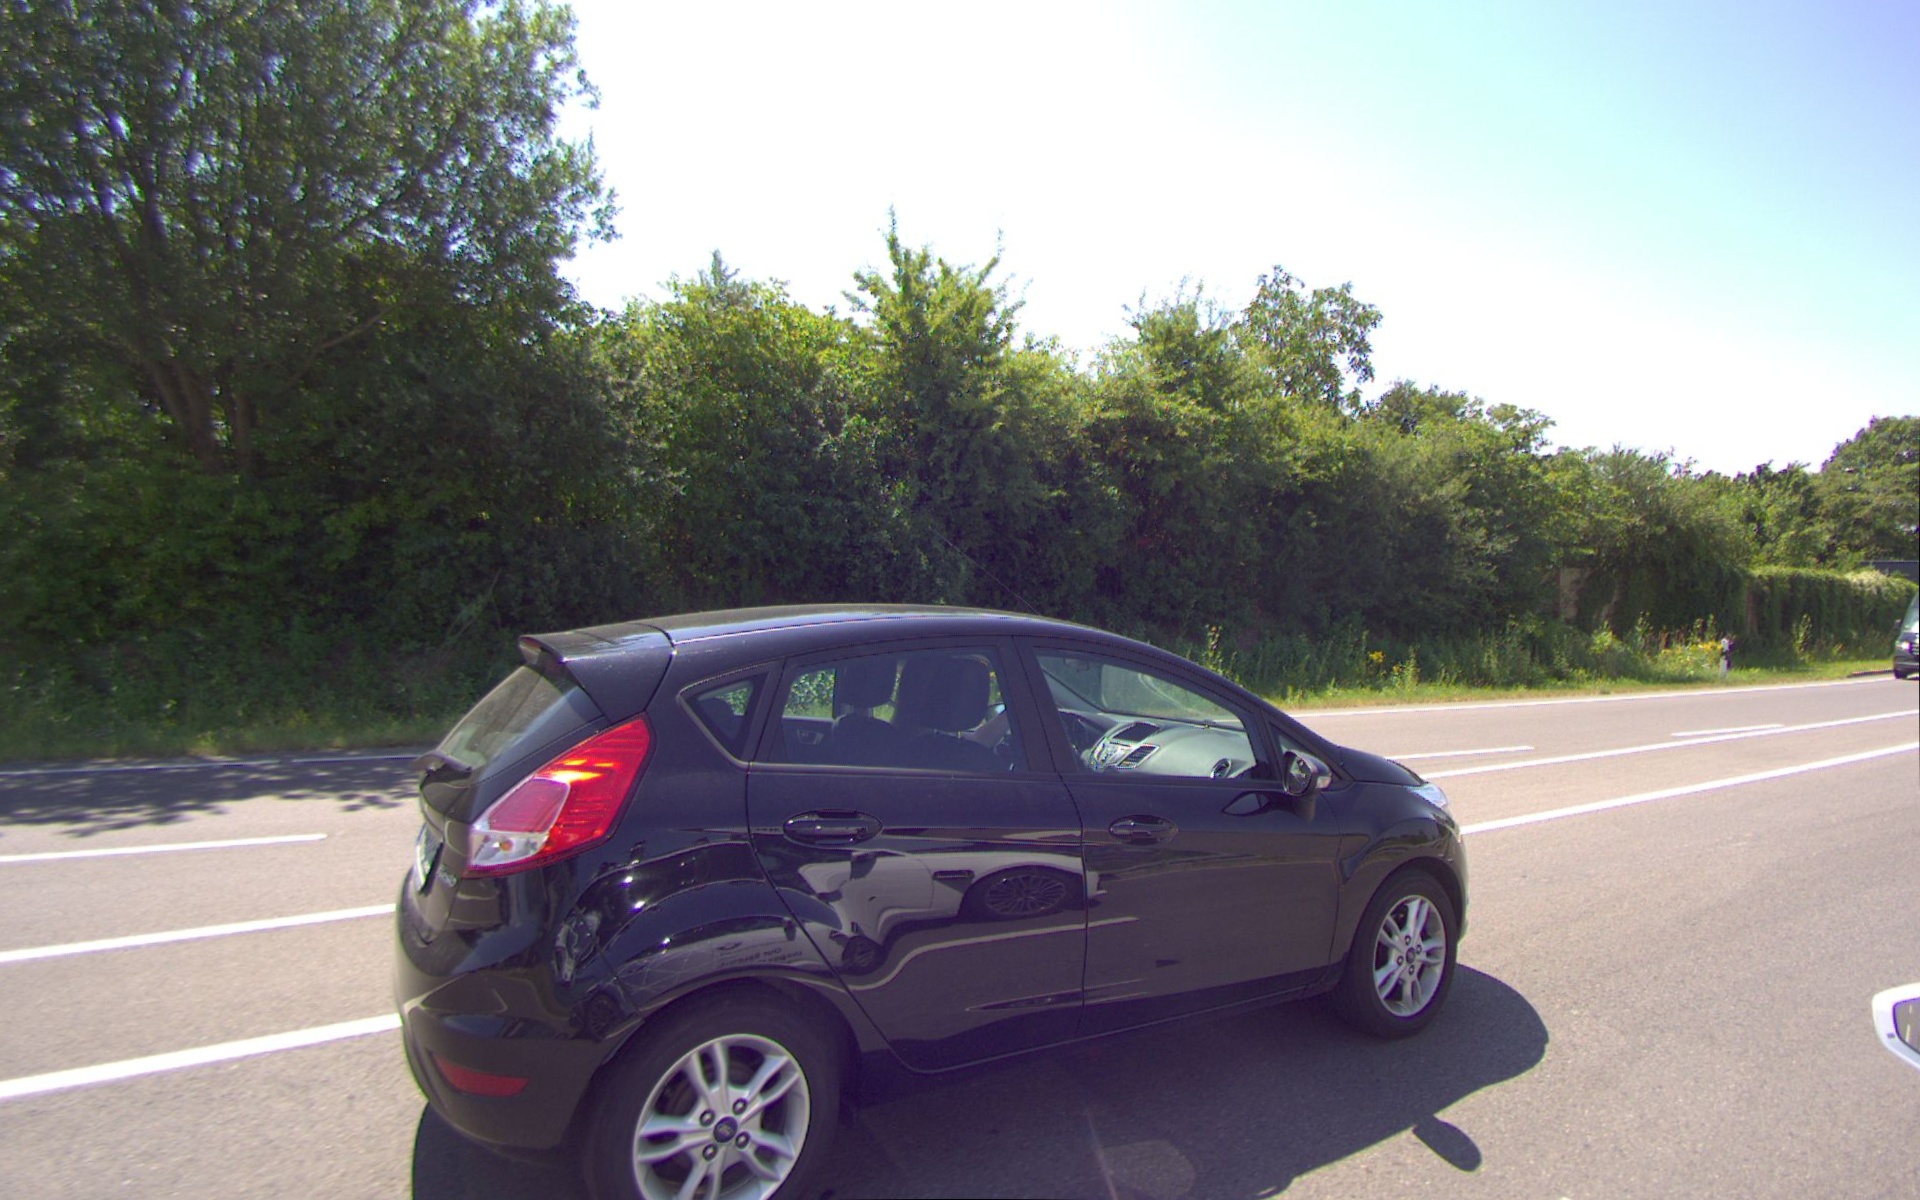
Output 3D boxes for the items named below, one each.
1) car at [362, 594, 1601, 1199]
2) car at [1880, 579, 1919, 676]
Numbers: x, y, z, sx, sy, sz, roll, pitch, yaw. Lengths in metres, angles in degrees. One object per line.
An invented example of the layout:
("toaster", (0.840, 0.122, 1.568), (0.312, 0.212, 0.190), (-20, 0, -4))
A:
("car", (0.306, 0.758, 3.577), (4.159, 1.514, 1.644), (0, 1, -31))
("car", (27.936, 0.797, 28.287), (5.986, 2.575, 2.170), (1, 1, -40))
